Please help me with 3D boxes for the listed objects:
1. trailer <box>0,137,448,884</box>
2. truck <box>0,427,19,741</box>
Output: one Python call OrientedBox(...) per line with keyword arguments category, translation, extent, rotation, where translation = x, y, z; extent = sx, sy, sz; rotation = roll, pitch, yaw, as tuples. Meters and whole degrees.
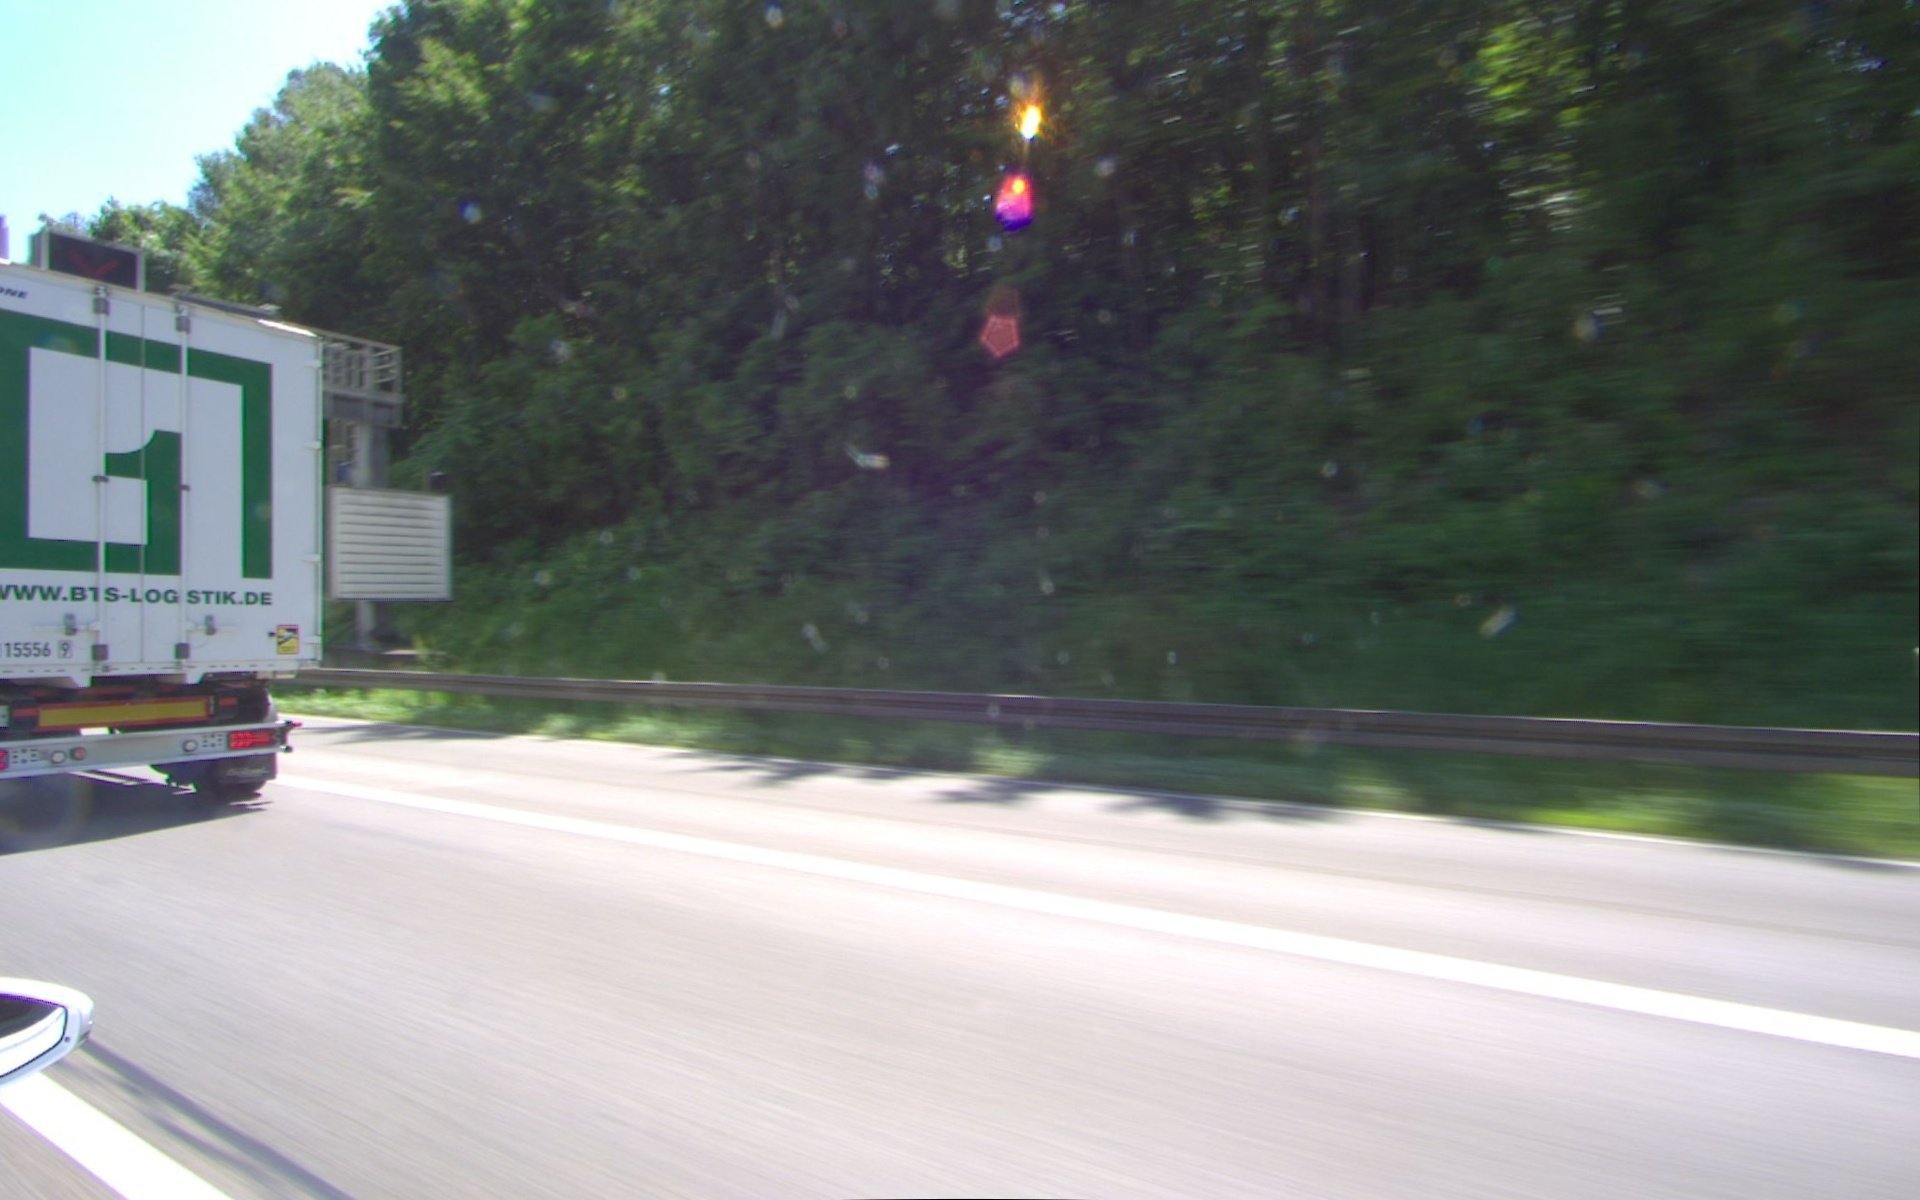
OrientedBox(category="trailer", translation=(-8.950, -0.414, 9.433), extent=(9.921, 4.229, 2.675), rotation=(-1, -1, 32))
OrientedBox(category="truck", translation=(-17.587, -0.165, 14.909), extent=(10.473, 4.112, 2.675), rotation=(-1, -1, 32))
